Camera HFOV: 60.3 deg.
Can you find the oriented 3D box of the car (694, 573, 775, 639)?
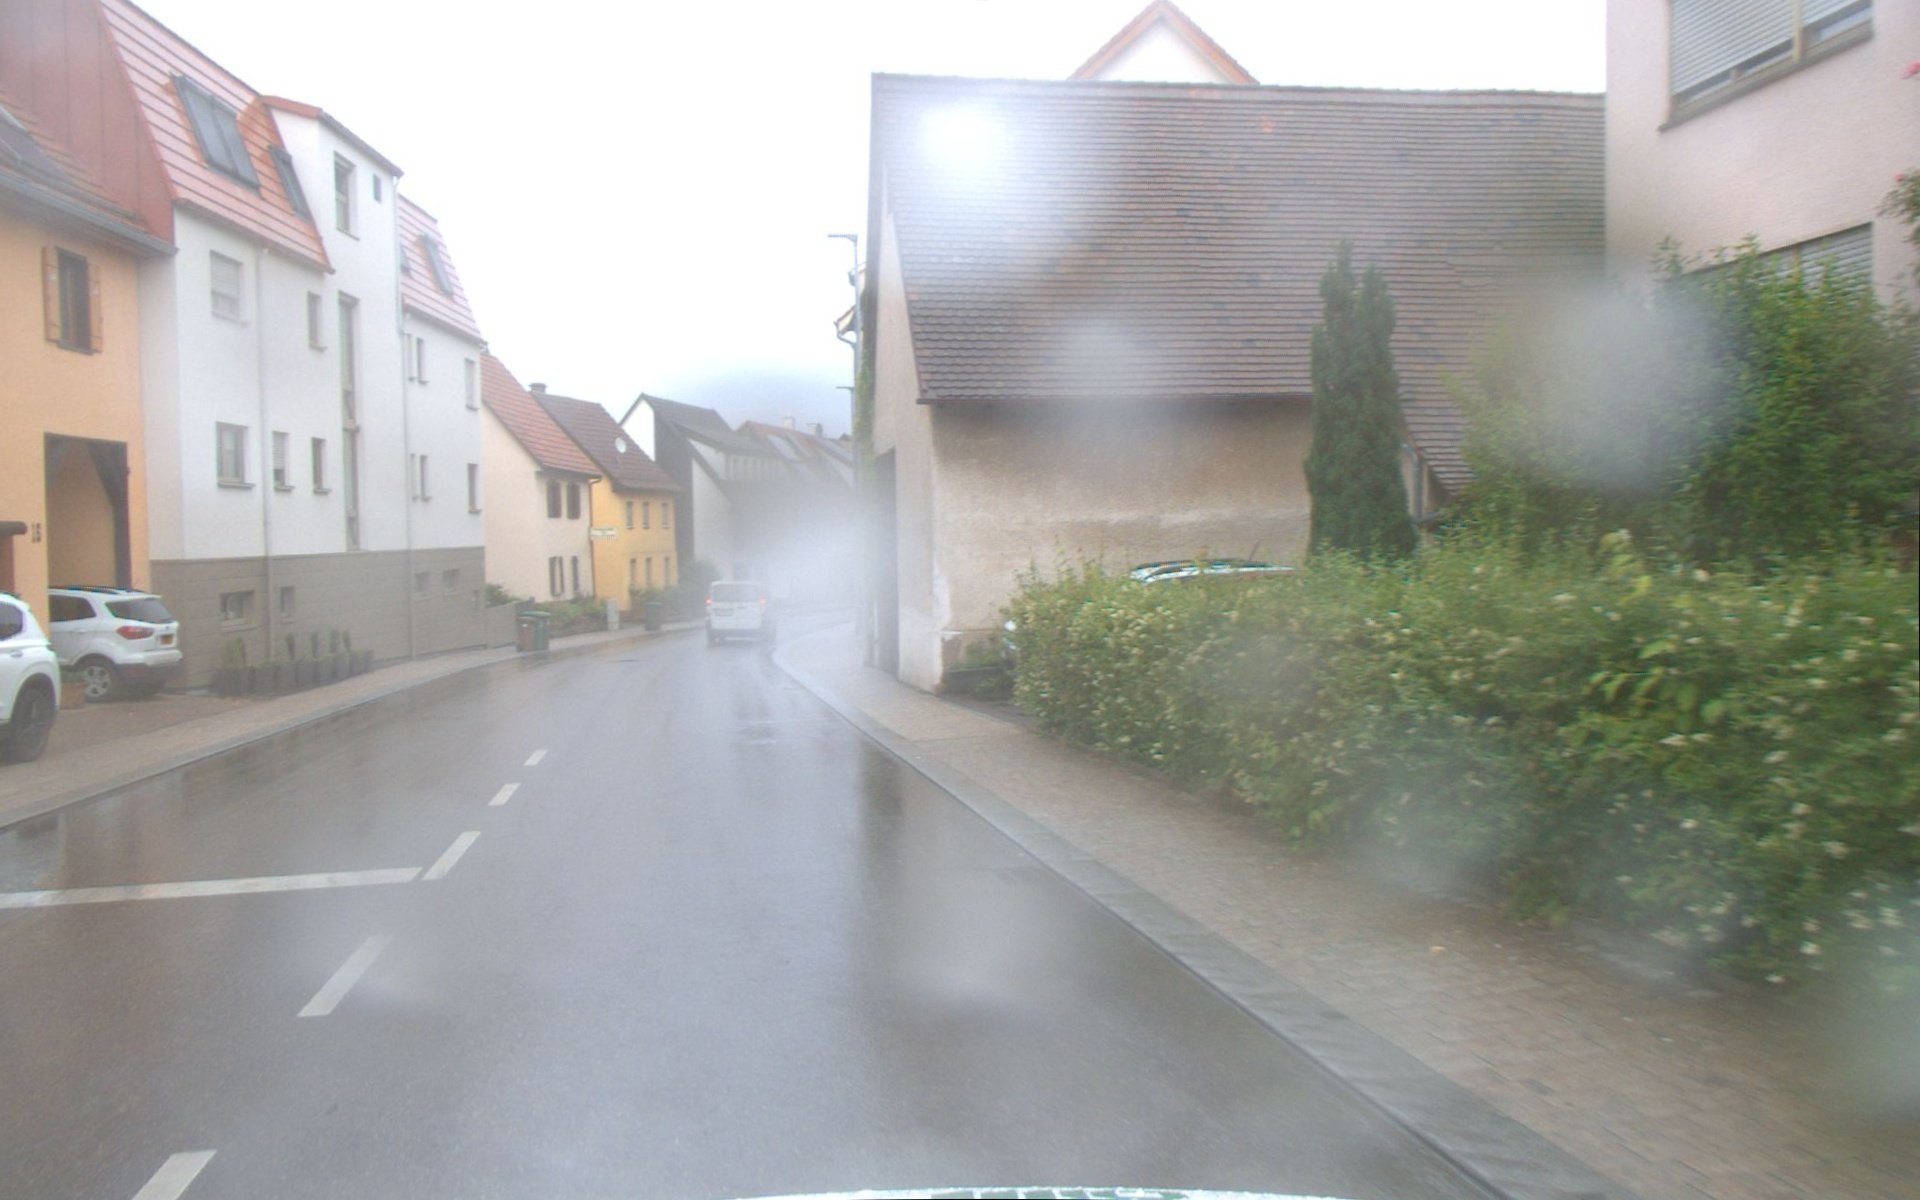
[{"bbox_3d":[-6.831,0.159,50.482,2.152,1.884,4.300,-2,0,-4],"label":"car"}]

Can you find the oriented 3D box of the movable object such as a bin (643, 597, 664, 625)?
[{"bbox_3d":[-11.916,0.420,64.272,0.646,1.074,0.763,1,1,0],"label":"movable object such as a bin"}]

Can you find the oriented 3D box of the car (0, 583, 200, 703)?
[{"bbox_3d":[-13.927,0.610,25.088,3.909,1.699,1.876,1,0,-5],"label":"car"}]

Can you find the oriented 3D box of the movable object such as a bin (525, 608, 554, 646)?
[{"bbox_3d":[-12.020,0.779,47.314,0.667,1.064,0.661,0,0,-2],"label":"movable object such as a bin"}]

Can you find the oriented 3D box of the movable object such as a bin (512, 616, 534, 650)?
[{"bbox_3d":[-12.090,0.908,45.780,0.496,0.939,0.579,0,0,-4],"label":"movable object such as a bin"}]

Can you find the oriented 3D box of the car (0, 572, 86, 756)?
[{"bbox_3d":[-9.920,0.627,15.086,1.778,1.736,4.611,-1,1,-6],"label":"car"}]

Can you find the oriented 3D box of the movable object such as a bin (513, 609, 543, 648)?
[{"bbox_3d":[-12.146,0.802,46.517,0.667,1.085,0.694,0,0,-2],"label":"movable object such as a bin"}]

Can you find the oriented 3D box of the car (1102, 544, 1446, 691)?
[{"bbox_3d":[4.198,0.198,22.421,4.141,1.677,1.899,-3,1,-10],"label":"car"}]
